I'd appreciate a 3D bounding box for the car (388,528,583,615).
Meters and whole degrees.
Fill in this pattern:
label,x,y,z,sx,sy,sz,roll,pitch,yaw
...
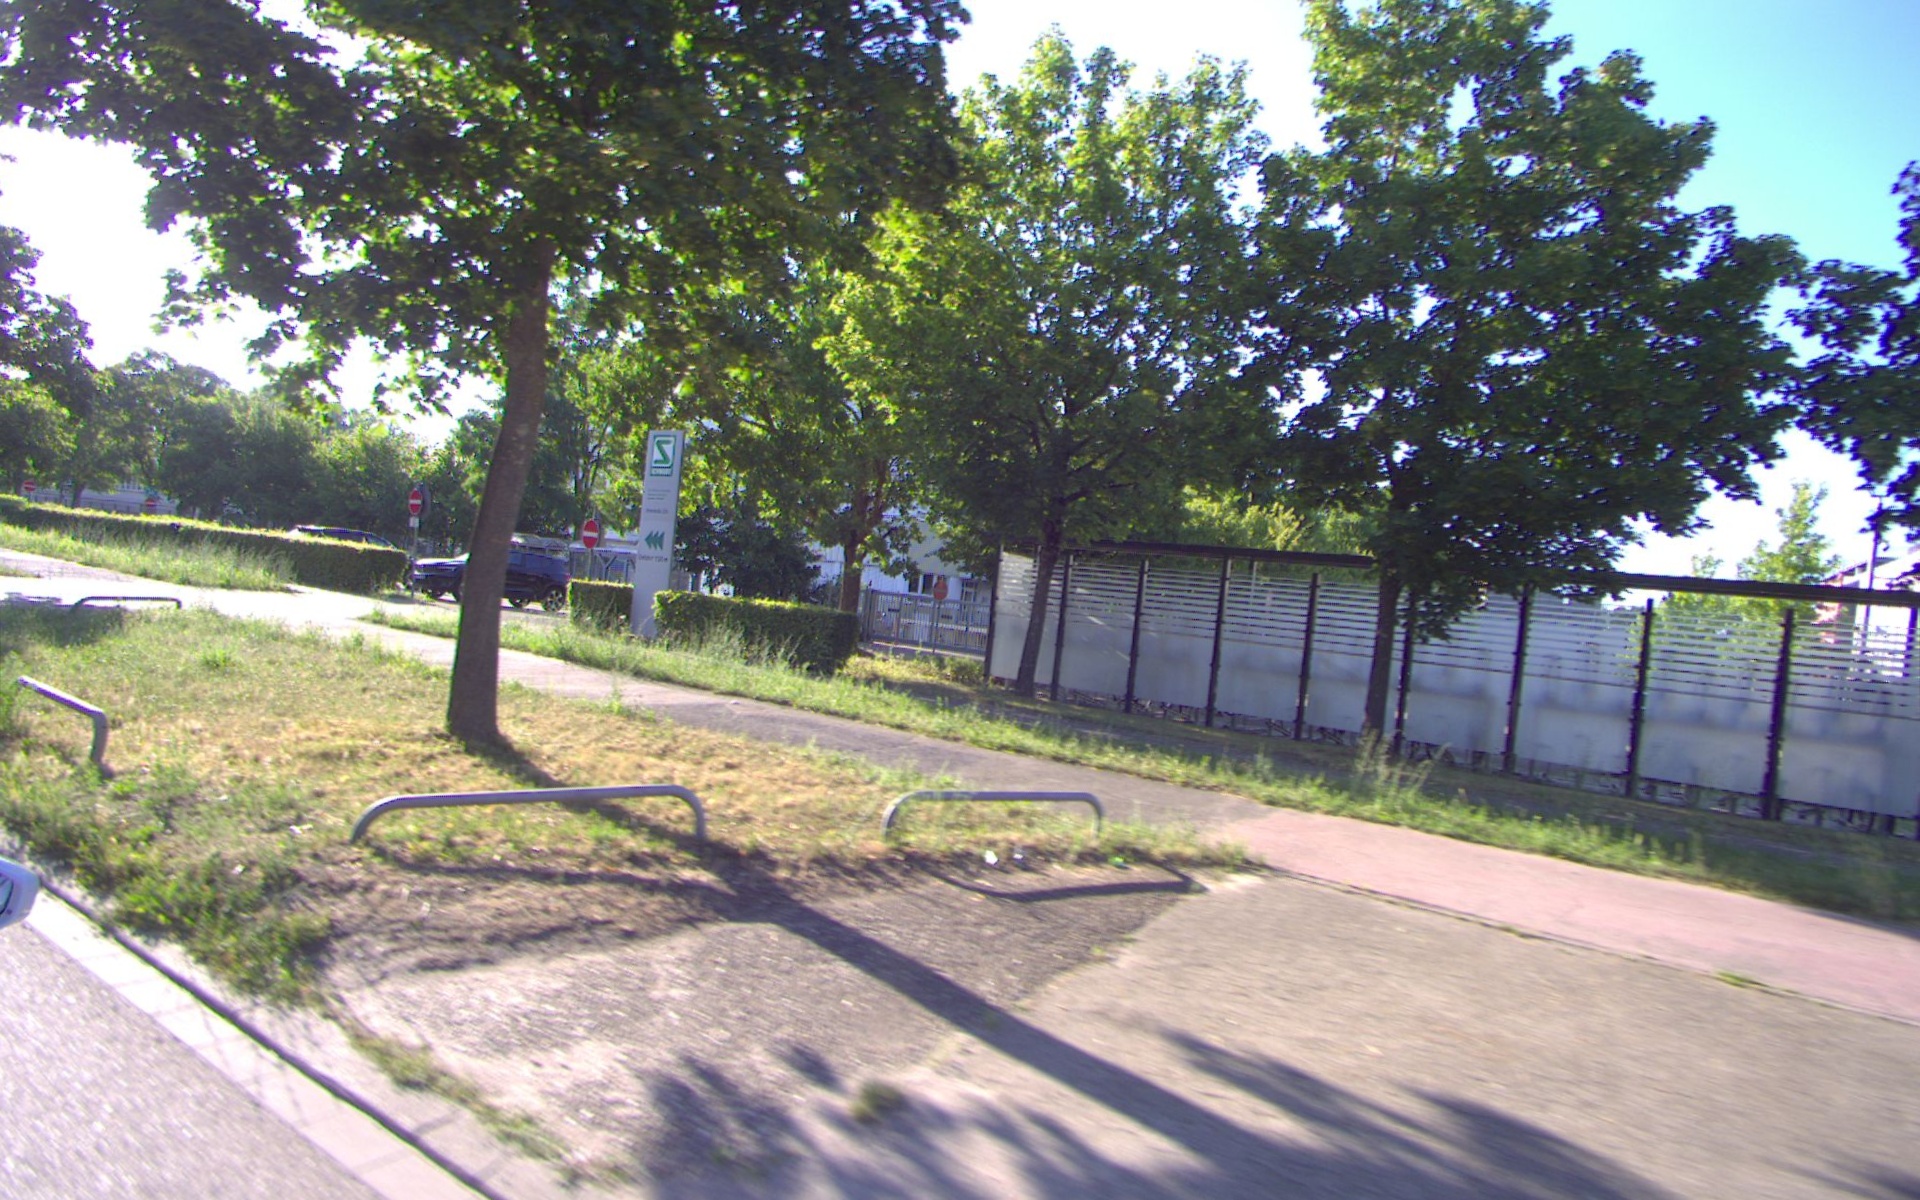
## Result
label,x,y,z,sx,sy,sz,roll,pitch,yaw
car,-13.266,-0.740,28.386,2.026,1.725,4.438,7,-3,33
